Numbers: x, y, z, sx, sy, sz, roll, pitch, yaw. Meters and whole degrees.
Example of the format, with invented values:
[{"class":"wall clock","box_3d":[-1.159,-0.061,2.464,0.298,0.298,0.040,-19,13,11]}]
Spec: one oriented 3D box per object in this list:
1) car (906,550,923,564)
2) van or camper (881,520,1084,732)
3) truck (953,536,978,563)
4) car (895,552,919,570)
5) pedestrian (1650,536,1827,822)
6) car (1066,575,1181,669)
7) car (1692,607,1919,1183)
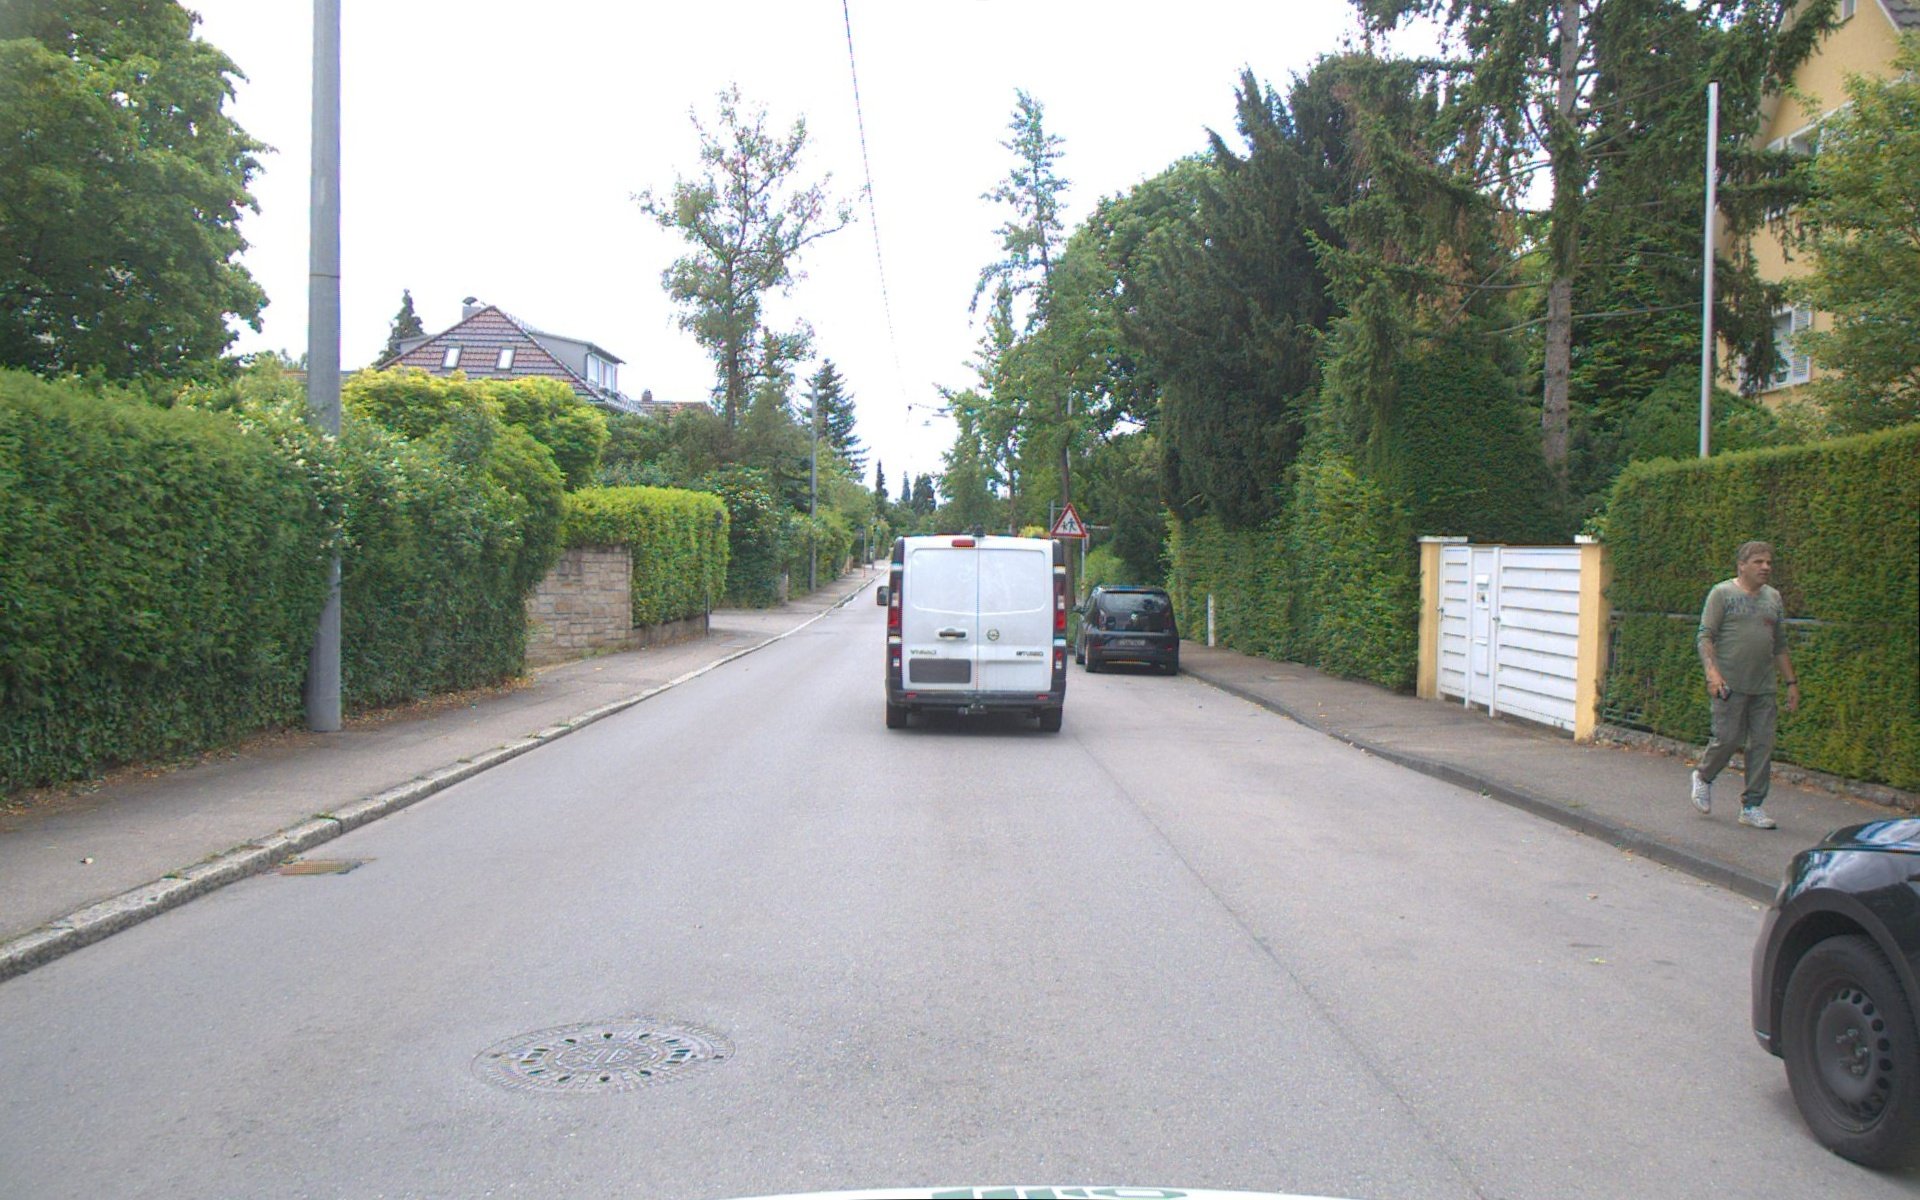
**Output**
[{"class":"car","box_3d":[-4.696,-4.412,170.538,1.769,1.456,4.117,0,1,-2]},{"class":"van or camper","box_3d":[0.154,0.216,18.345,1.900,1.988,4.764,2,1,-2]},{"class":"truck","box_3d":[0.531,-4.872,159.646,2.143,2.514,7.430,2,2,-1]},{"class":"car","box_3d":[-4.485,-3.318,140.809,1.768,1.456,4.302,-2,2,1]},{"class":"pedestrian","box_3d":[4.904,0.467,10.471,0.656,1.728,0.917,0,1,-4]},{"class":"car","box_3d":[2.851,0.340,29.520,1.590,1.498,3.740,1,1,-1]},{"class":"car","box_3d":[3.323,0.766,3.337,1.646,1.431,4.050,-1,1,-5]}]
